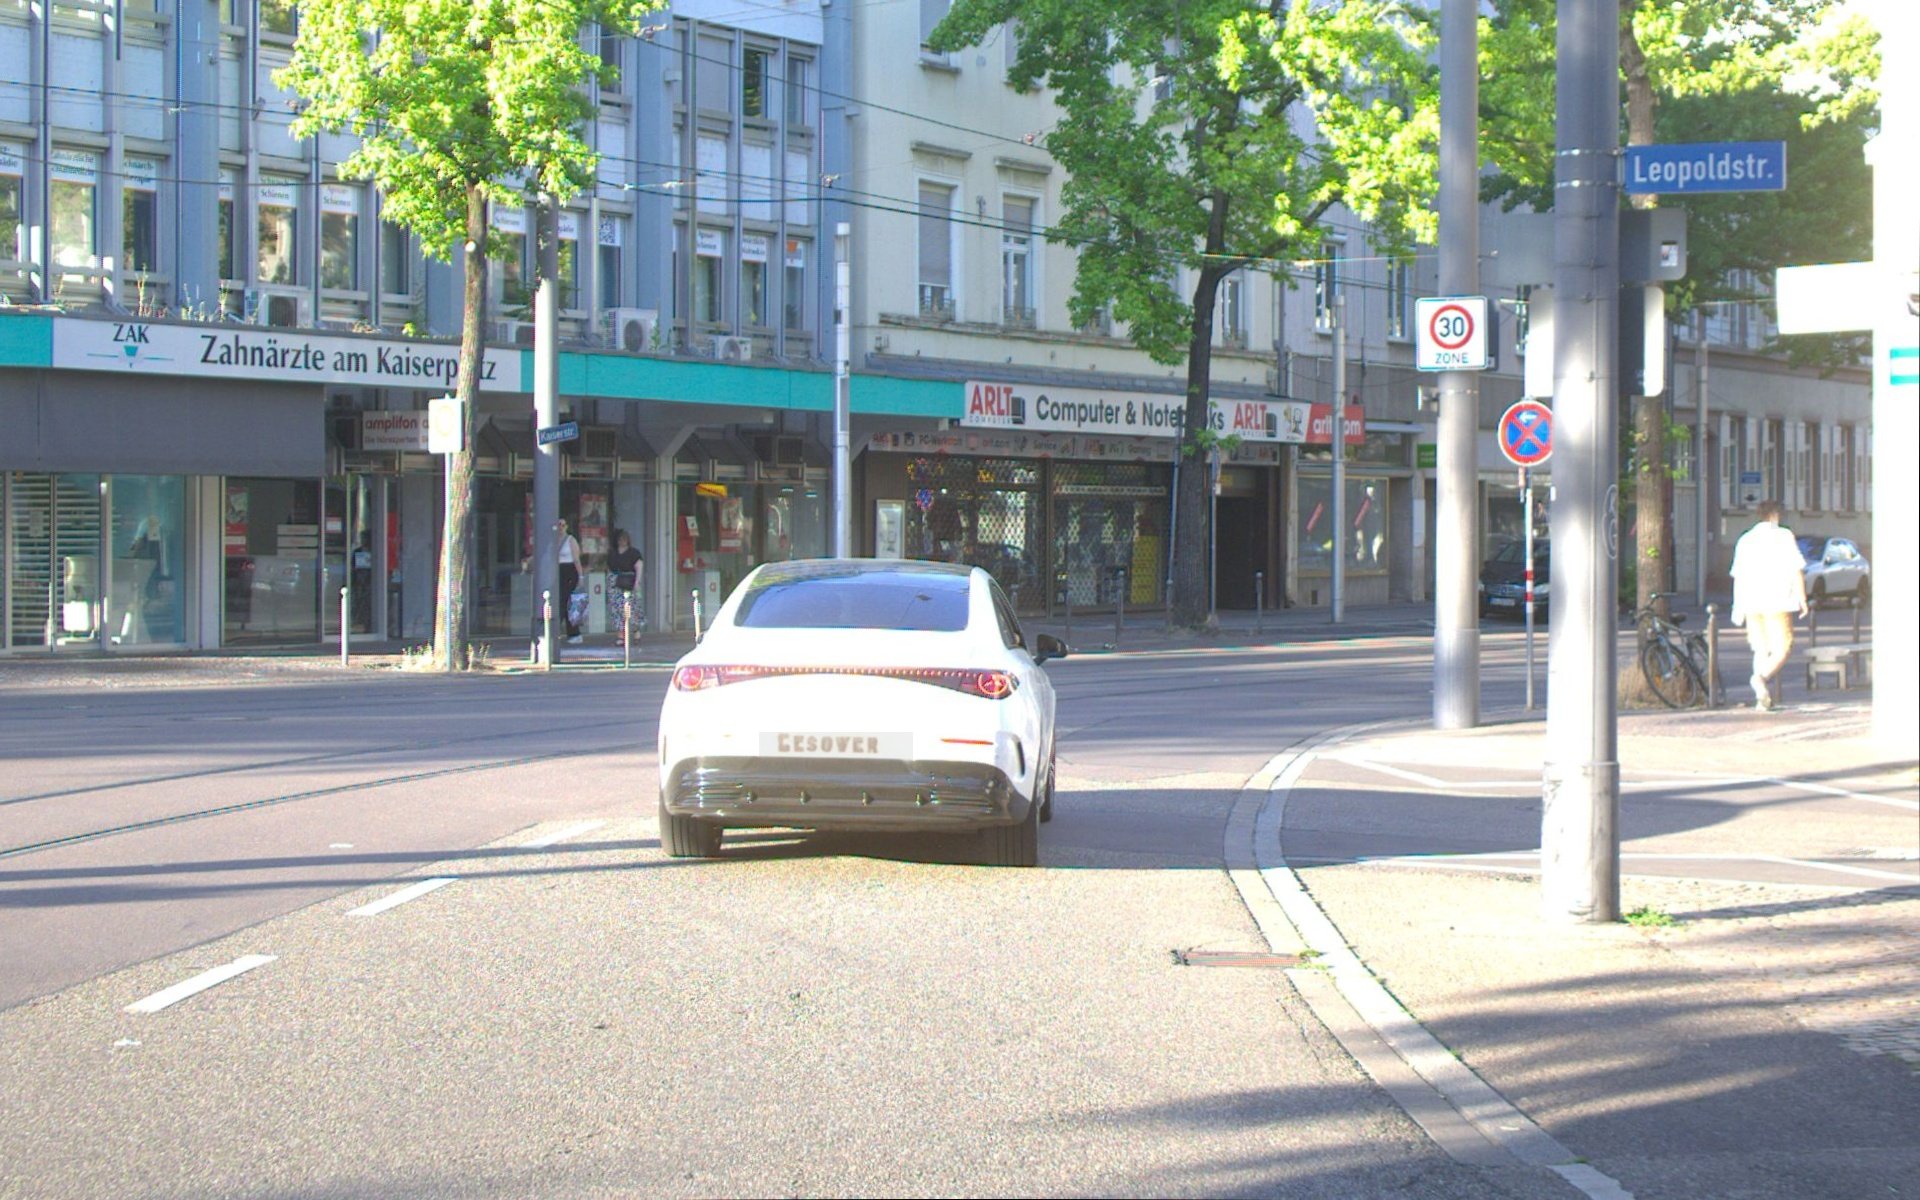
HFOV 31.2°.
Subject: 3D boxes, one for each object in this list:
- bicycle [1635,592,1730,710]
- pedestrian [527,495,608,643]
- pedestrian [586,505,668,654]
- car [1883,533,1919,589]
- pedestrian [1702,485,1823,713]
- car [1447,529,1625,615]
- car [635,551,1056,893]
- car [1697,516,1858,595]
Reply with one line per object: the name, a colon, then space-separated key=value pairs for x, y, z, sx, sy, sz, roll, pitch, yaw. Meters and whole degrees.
bicycle: x=6.841 y=0.465 z=32.516 sx=0.355 sy=1.073 sz=1.696 roll=1 pitch=1 yaw=30
pedestrian: x=-5.394 y=-0.429 z=47.240 sx=0.798 sy=2.007 sz=0.733 roll=1 pitch=1 yaw=34
pedestrian: x=-4.534 y=-0.281 z=46.830 sx=0.798 sy=2.007 sz=0.733 roll=1 pitch=1 yaw=34
car: x=25.689 y=-1.014 z=89.520 sx=1.965 sy=1.408 sz=4.838 roll=1 pitch=1 yaw=30
pedestrian: x=7.207 y=-0.020 z=30.854 sx=0.842 sy=2.007 sz=0.845 roll=1 pitch=1 yaw=28
car: x=11.394 y=-0.573 z=67.852 sx=1.966 sy=1.634 sz=3.992 roll=1 pitch=1 yaw=34
car: x=-0.514 y=0.525 z=17.614 sx=1.868 sy=1.464 sz=4.043 roll=2 pitch=1 yaw=0
car: x=18.752 y=-1.032 z=78.695 sx=1.966 sy=1.634 sz=4.803 roll=4 pitch=3 yaw=33
